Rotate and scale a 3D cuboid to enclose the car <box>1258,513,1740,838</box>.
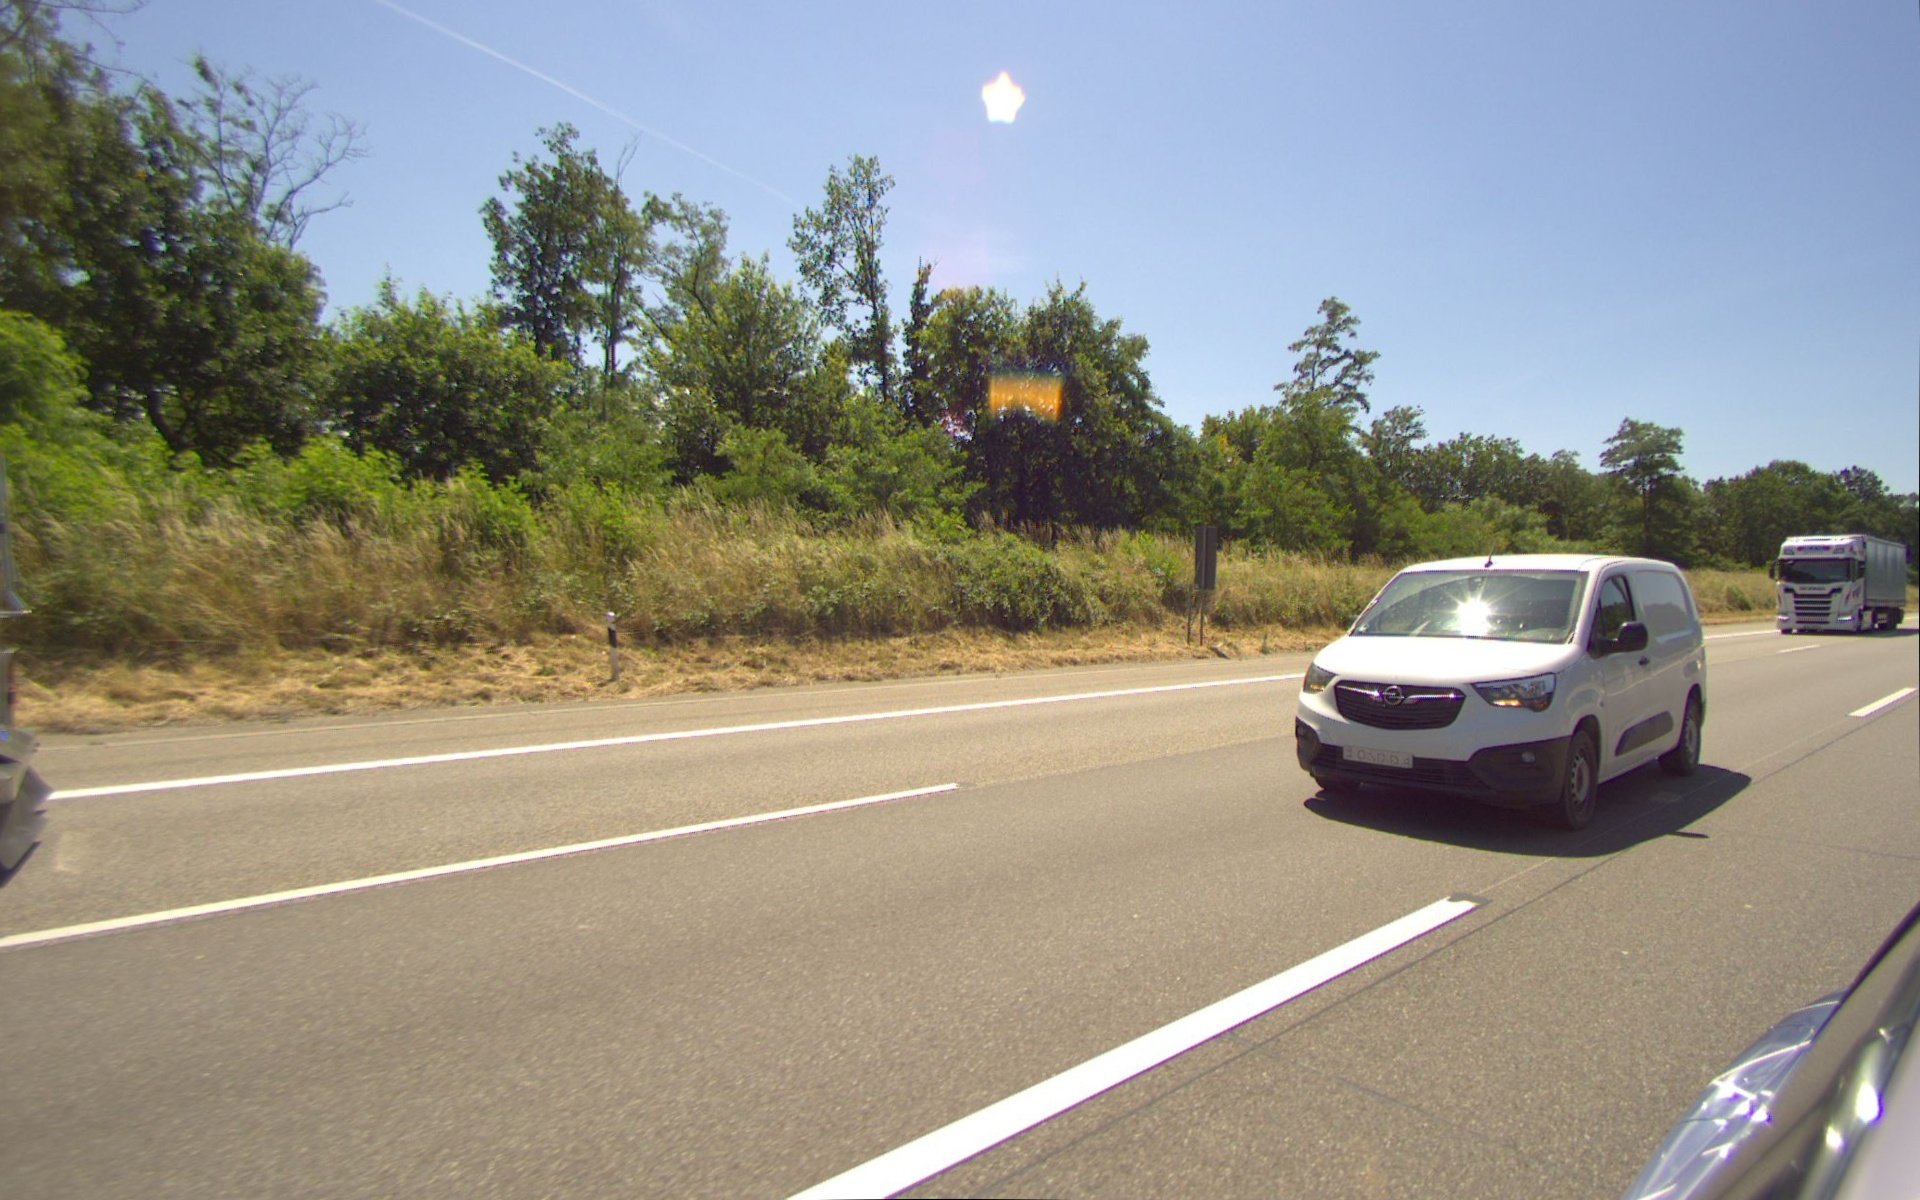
[{"bbox_3d":[4.521,0.407,8.073,4.856,1.840,1.868,0,0,-42],"label":"car"}]

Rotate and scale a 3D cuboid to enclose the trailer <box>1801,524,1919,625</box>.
[{"bbox_3d":[41.378,-1.084,46.086,13.835,4.053,2.601,0,0,-41],"label":"trailer"}]

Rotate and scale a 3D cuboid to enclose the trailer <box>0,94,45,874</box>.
[{"bbox_3d":[-9.694,-0.531,2.193,11.347,3.781,2.533,0,0,-41],"label":"trailer"}]

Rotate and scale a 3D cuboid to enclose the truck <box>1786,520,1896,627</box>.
[{"bbox_3d":[36.183,-1.035,41.520,6.066,4.053,2.601,0,0,-41],"label":"truck"}]
